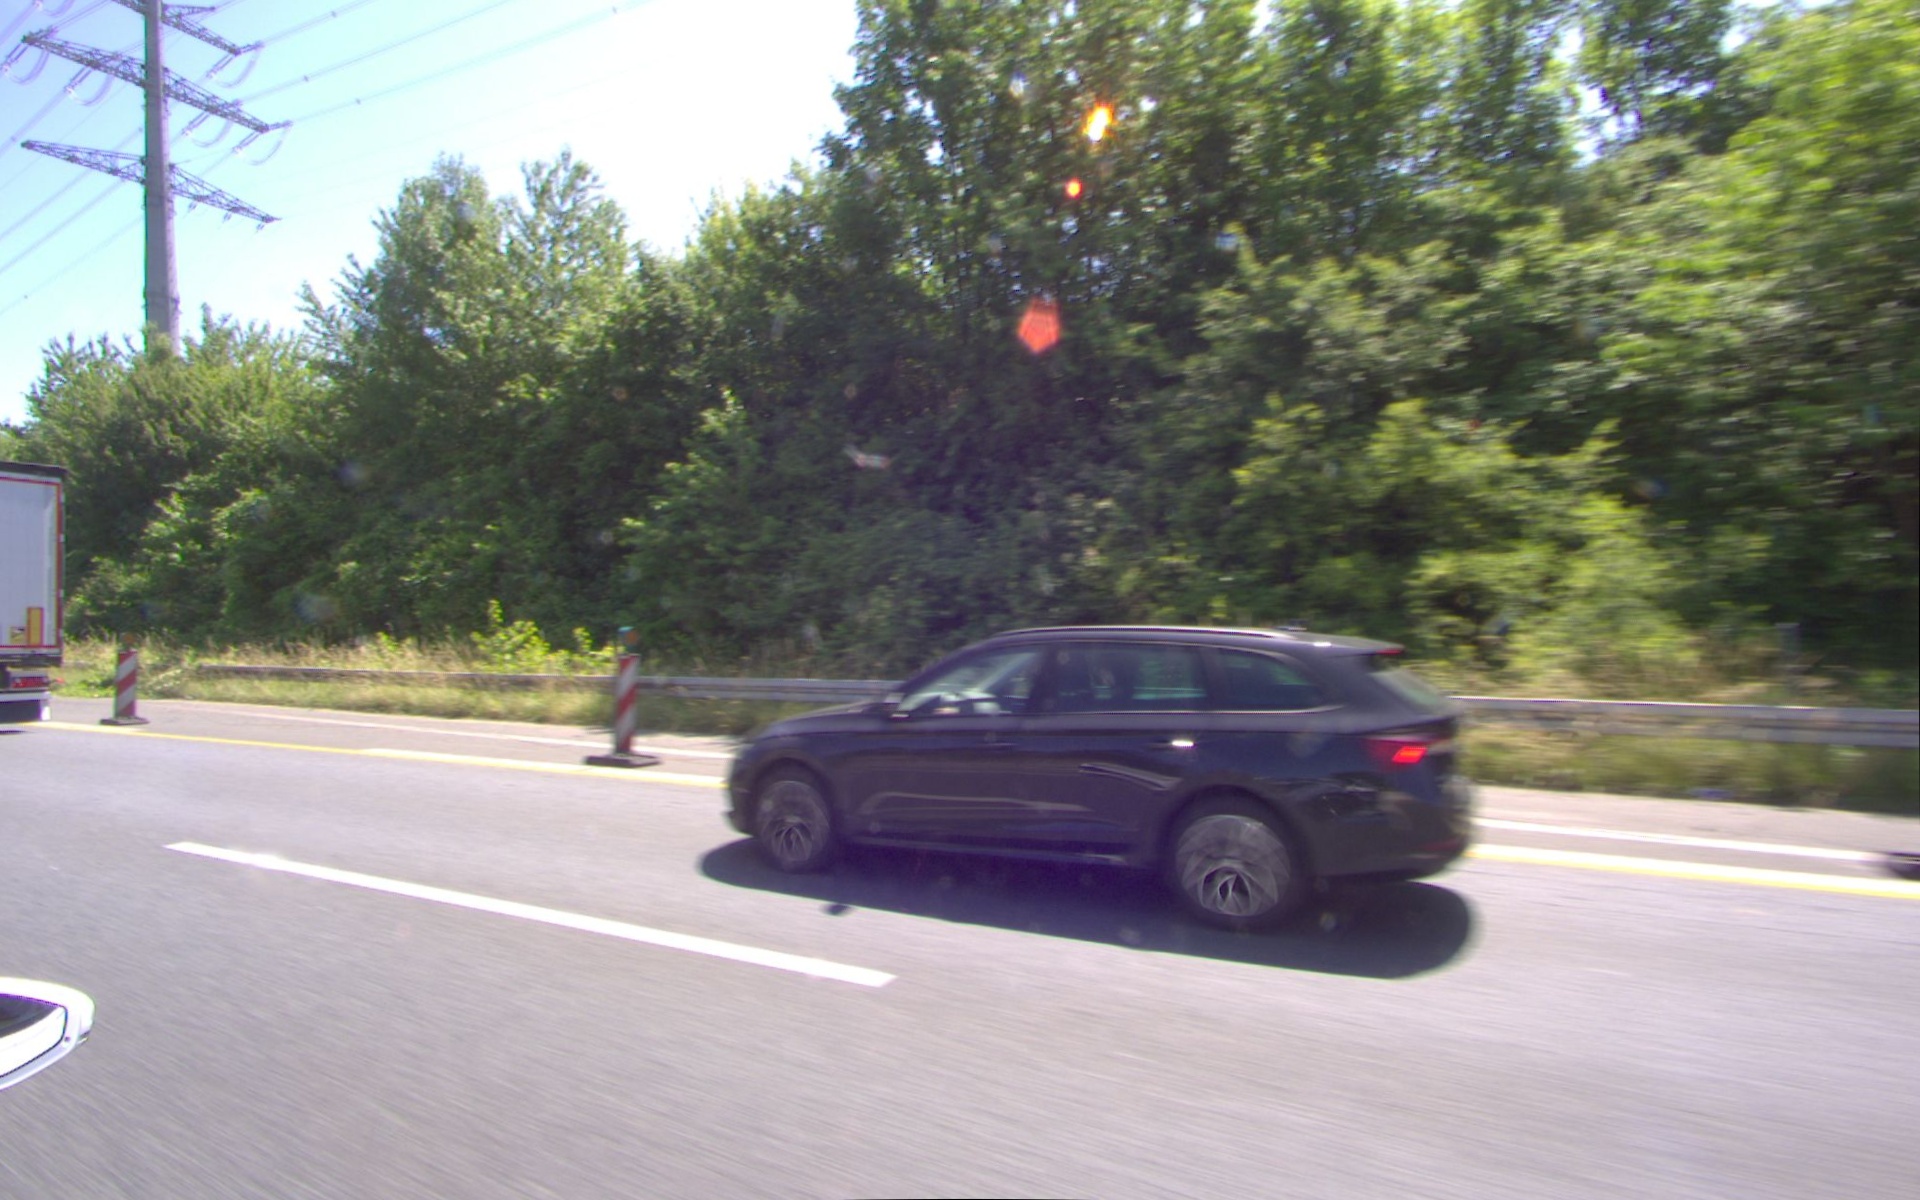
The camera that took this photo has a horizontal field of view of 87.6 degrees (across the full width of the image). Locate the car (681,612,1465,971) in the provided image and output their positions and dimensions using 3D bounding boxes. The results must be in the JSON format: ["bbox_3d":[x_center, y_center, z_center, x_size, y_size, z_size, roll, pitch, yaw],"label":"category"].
[{"bbox_3d":[0.564,0.869,6.075,4.396,1.508,1.778,-1,-2,29],"label":"car"}]

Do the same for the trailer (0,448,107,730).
[{"bbox_3d":[-19.070,-0.088,17.052,11.310,4.095,3.063,-1,-1,28],"label":"trailer"}]
